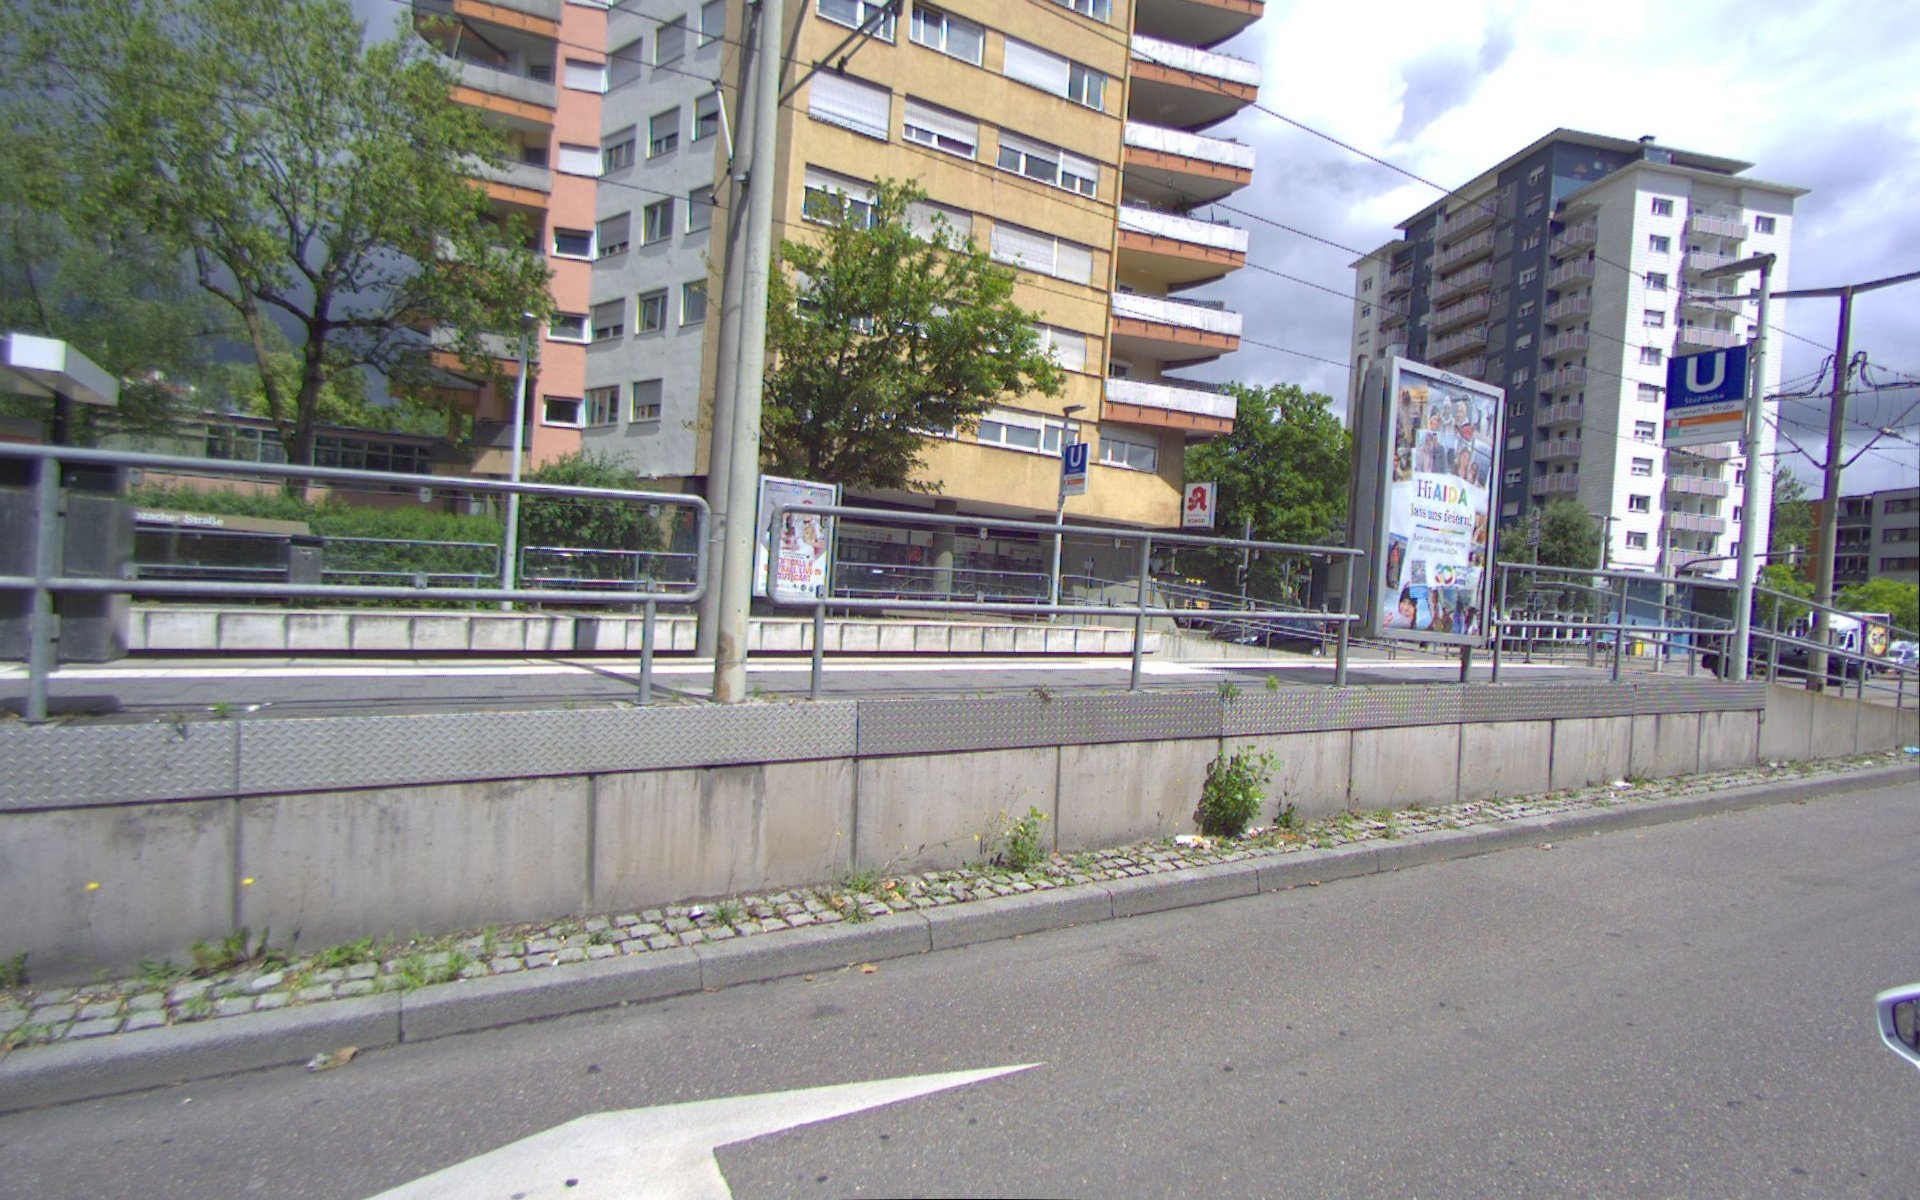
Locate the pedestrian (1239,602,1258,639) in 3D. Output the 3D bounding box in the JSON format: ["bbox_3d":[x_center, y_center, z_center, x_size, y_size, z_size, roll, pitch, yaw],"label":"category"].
[{"bbox_3d":[11.839,0.838,41.195,0.541,1.459,0.497,2,0,-19],"label":"pedestrian"}]

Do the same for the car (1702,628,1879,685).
[{"bbox_3d":[25.638,1.698,31.114,1.832,1.506,3.953,2,0,-40],"label":"car"}]

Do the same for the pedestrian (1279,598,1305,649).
[{"bbox_3d":[12.060,0.847,36.512,0.649,1.799,0.658,2,0,-1],"label":"pedestrian"}]

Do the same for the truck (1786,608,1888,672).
[{"bbox_3d":[46.528,2.124,53.219,7.244,3.159,2.267,2,0,-34],"label":"truck"}]

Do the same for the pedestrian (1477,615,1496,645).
[{"bbox_3d":[36.191,2.039,69.067,0.831,2.040,0.861,2,0,-2],"label":"pedestrian"}]

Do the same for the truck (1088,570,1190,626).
[{"bbox_3d":[7.985,-0.110,45.239,2.323,2.320,4.260,2,0,-29],"label":"truck"}]

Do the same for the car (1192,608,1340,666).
[{"bbox_3d":[8.179,0.989,26.778,3.820,1.424,1.571,2,0,-30],"label":"car"}]

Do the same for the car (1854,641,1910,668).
[{"bbox_3d":[52.991,3.133,57.717,3.733,1.480,1.399,2,0,-32],"label":"car"}]

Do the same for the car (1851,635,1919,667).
[{"bbox_3d":[64.104,3.497,69.058,3.846,2.001,1.657,2,0,18],"label":"car"}]
